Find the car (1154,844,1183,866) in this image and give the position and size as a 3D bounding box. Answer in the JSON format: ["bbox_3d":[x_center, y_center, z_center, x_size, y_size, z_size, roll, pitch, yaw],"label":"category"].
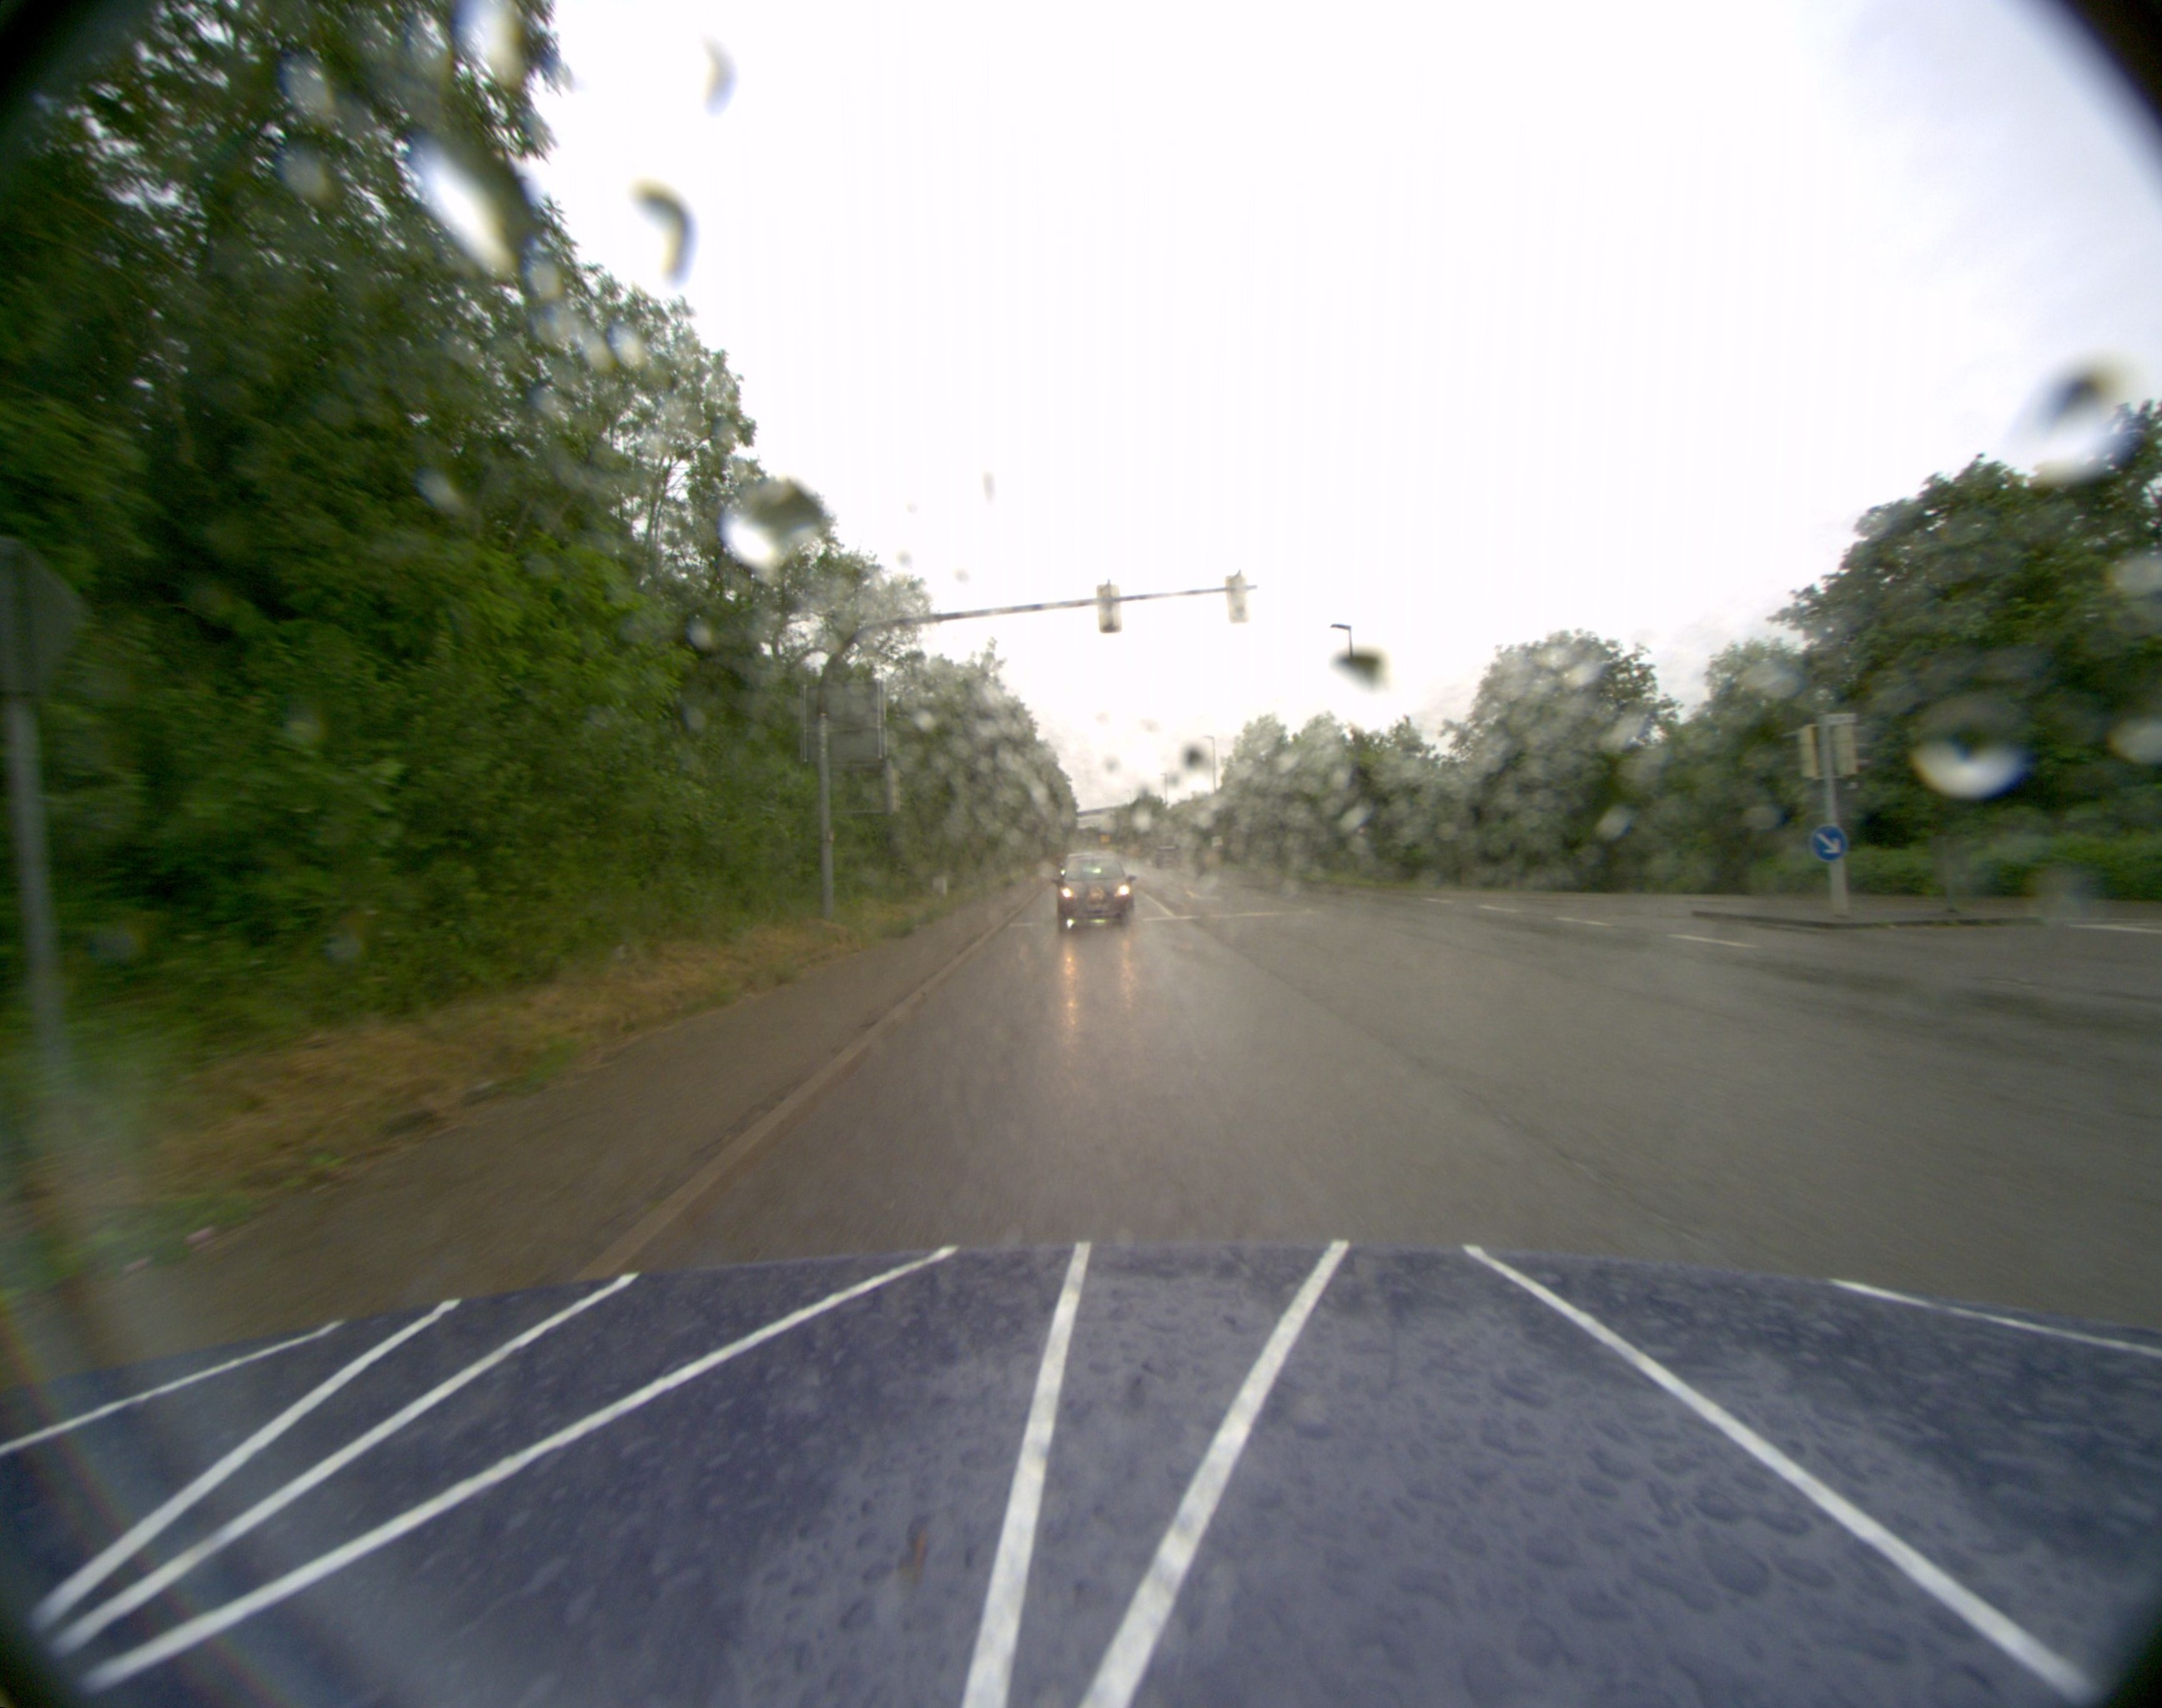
[{"bbox_3d":[6.696,0.054,58.408,1.737,1.565,3.869,-1,0,0],"label":"car"}]

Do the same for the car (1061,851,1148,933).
[{"bbox_3d":[0.449,0.746,16.852,1.681,1.561,3.888,-1,0,-1],"label":"car"}]
